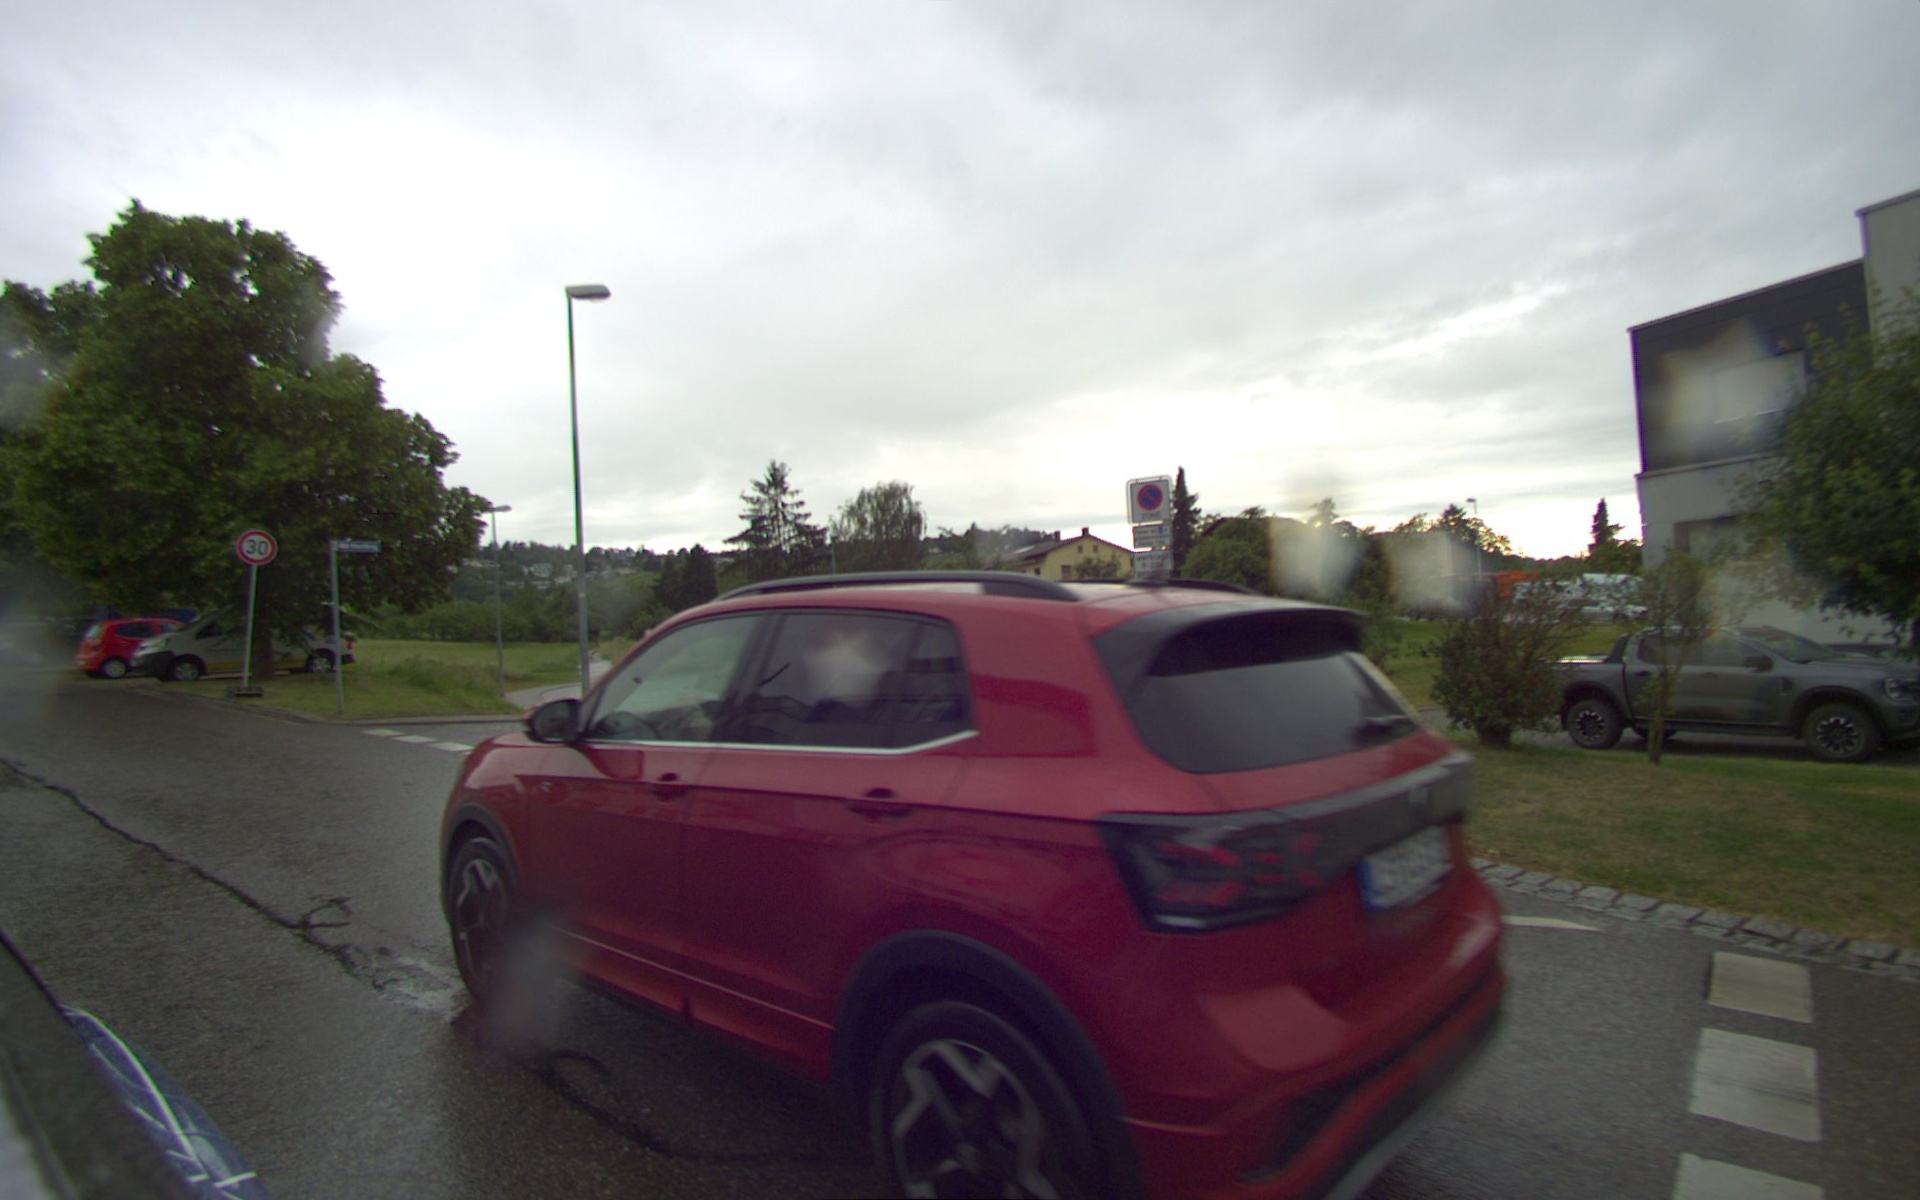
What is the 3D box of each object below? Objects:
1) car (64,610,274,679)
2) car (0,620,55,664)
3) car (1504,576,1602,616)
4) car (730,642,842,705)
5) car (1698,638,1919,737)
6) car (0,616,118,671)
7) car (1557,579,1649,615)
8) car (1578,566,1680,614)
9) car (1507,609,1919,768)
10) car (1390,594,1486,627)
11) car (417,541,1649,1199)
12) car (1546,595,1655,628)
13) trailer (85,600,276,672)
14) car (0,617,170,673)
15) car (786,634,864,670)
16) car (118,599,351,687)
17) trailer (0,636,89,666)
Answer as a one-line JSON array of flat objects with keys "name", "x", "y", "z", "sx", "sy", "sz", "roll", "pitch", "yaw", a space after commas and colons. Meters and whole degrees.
[{"name": "car", "x": -21.356, "y": 1.157, "z": 27.496, "sx": 1.750, "sy": 1.735, "sz": 4.161, "roll": -1, "pitch": -1, "yaw": 34}, {"name": "car", "x": -38.575, "y": 1.646, "z": 39.590, "sx": 2.039, "sy": 1.735, "sz": 4.332, "roll": -1, "pitch": -1, "yaw": 33}, {"name": "car", "x": 42.827, "y": -0.231, "z": 73.246, "sx": 1.966, "sy": 2.722, "sz": 5.828, "roll": -1, "pitch": 0, "yaw": -32}, {"name": "car", "x": -5.509, "y": 2.331, "z": 31.583, "sx": 1.966, "sy": 1.767, "sz": 4.396, "roll": 1, "pitch": -6, "yaw": -31}, {"name": "car", "x": 14.404, "y": 1.291, "z": 15.414, "sx": 1.965, "sy": 1.407, "sz": 4.705, "roll": 1, "pitch": -3, "yaw": -27}, {"name": "car", "x": -32.053, "y": 1.480, "z": 35.114, "sx": 2.023, "sy": 1.734, "sz": 4.035, "roll": -1, "pitch": 1, "yaw": 38}, {"name": "car", "x": 48.024, "y": -0.169, "z": 75.699, "sx": 1.966, "sy": 2.589, "sz": 5.447, "roll": 1, "pitch": -1, "yaw": -31}, {"name": "car", "x": 50.516, "y": -0.674, "z": 76.569, "sx": 1.965, "sy": 3.455, "sz": 6.321, "roll": 1, "pitch": -1, "yaw": -25}, {"name": "car", "x": 11.544, "y": 1.240, "z": 15.142, "sx": 2.099, "sy": 1.937, "sz": 5.627, "roll": -1, "pitch": -4, "yaw": -27}, {"name": "car", "x": 30.873, "y": 0.706, "z": 65.523, "sx": 2.251, "sy": 1.990, "sz": 5.440, "roll": 2, "pitch": -2, "yaw": -25}, {"name": "car", "x": -0.206, "y": 0.693, "z": 3.392, "sx": 3.936, "sy": 1.520, "sz": 1.728, "roll": -1, "pitch": 0, "yaw": 44}, {"name": "car", "x": 35.539, "y": 0.693, "z": 56.290, "sx": 2.251, "sy": 1.661, "sz": 4.634, "roll": 2, "pitch": -3, "yaw": -25}, {"name": "trailer", "x": -23.025, "y": 1.038, "z": 30.041, "sx": 1.771, "sy": 1.999, "sz": 4.173, "roll": -1, "pitch": -2, "yaw": 37}, {"name": "car", "x": -29.574, "y": 1.451, "z": 33.922, "sx": 1.803, "sy": 1.602, "sz": 4.575, "roll": -1, "pitch": 1, "yaw": 37}, {"name": "car", "x": -8.533, "y": 3.298, "z": 64.052, "sx": 4.426, "sy": 2.237, "sz": 1.935, "roll": 2, "pitch": -3, "yaw": -31}, {"name": "car", "x": -17.377, "y": 0.985, "z": 24.391, "sx": 1.862, "sy": 1.920, "sz": 4.254, "roll": -1, "pitch": -2, "yaw": 42}, {"name": "trailer", "x": -34.273, "y": 1.871, "z": 36.552, "sx": 1.995, "sy": 0.968, "sz": 3.907, "roll": -2, "pitch": -1, "yaw": 35}]
